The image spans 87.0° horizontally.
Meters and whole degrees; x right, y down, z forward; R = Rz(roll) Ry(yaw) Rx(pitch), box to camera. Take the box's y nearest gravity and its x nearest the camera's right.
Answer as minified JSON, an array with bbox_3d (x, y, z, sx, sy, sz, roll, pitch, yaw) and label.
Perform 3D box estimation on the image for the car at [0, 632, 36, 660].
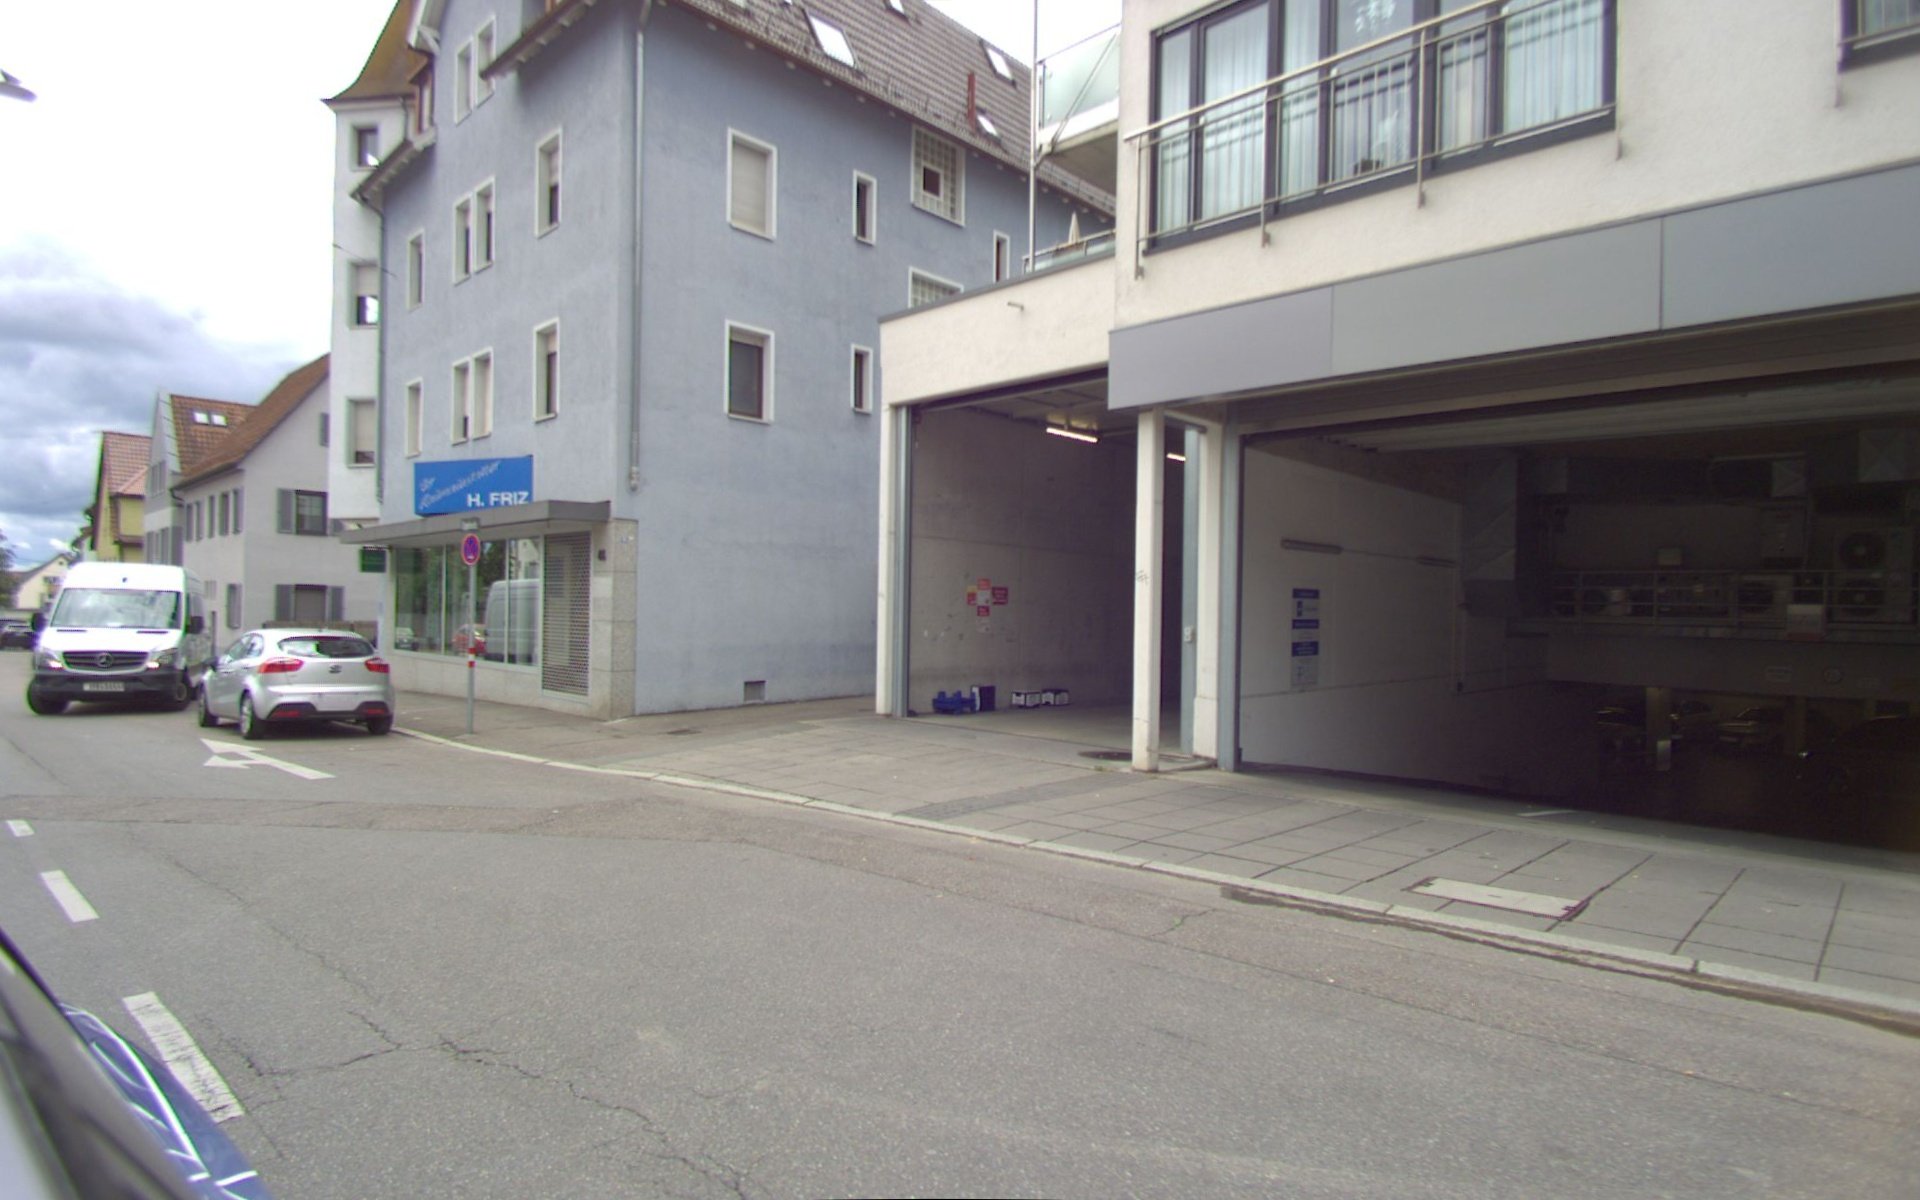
[{"bbox_3d":[-56.282,2.733,60.173,4.353,1.580,1.694,-2,-3,44],"label":"car"}]

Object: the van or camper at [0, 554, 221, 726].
[{"bbox_3d":[-15.390,0.722,18.731,2.287,2.627,6.225,1,-2,-32],"label":"van or camper"}]

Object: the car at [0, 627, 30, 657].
[{"bbox_3d":[-61.246,2.656,64.858,4.353,1.863,2.083,-2,-3,44],"label":"car"}]

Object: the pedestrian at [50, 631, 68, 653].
[{"bbox_3d":[-56.020,2.612,62.924,0.820,1.386,0.552,2,-3,-45],"label":"pedestrian"}]

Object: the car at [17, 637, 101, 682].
[{"bbox_3d":[-31.846,2.088,35.720,4.352,1.485,1.758,-2,-5,43],"label":"car"}]

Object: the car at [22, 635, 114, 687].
[{"bbox_3d":[-27.868,1.881,31.571,1.837,1.485,4.355,5,-5,-44],"label":"car"}]

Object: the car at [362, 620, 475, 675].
[{"bbox_3d":[-17.146,1.464,31.926,1.971,1.564,4.418,-1,-1,-44],"label":"car"}]

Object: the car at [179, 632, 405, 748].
[{"bbox_3d":[-9.668,1.186,14.529,4.000,1.422,1.778,-2,-3,43],"label":"car"}]
